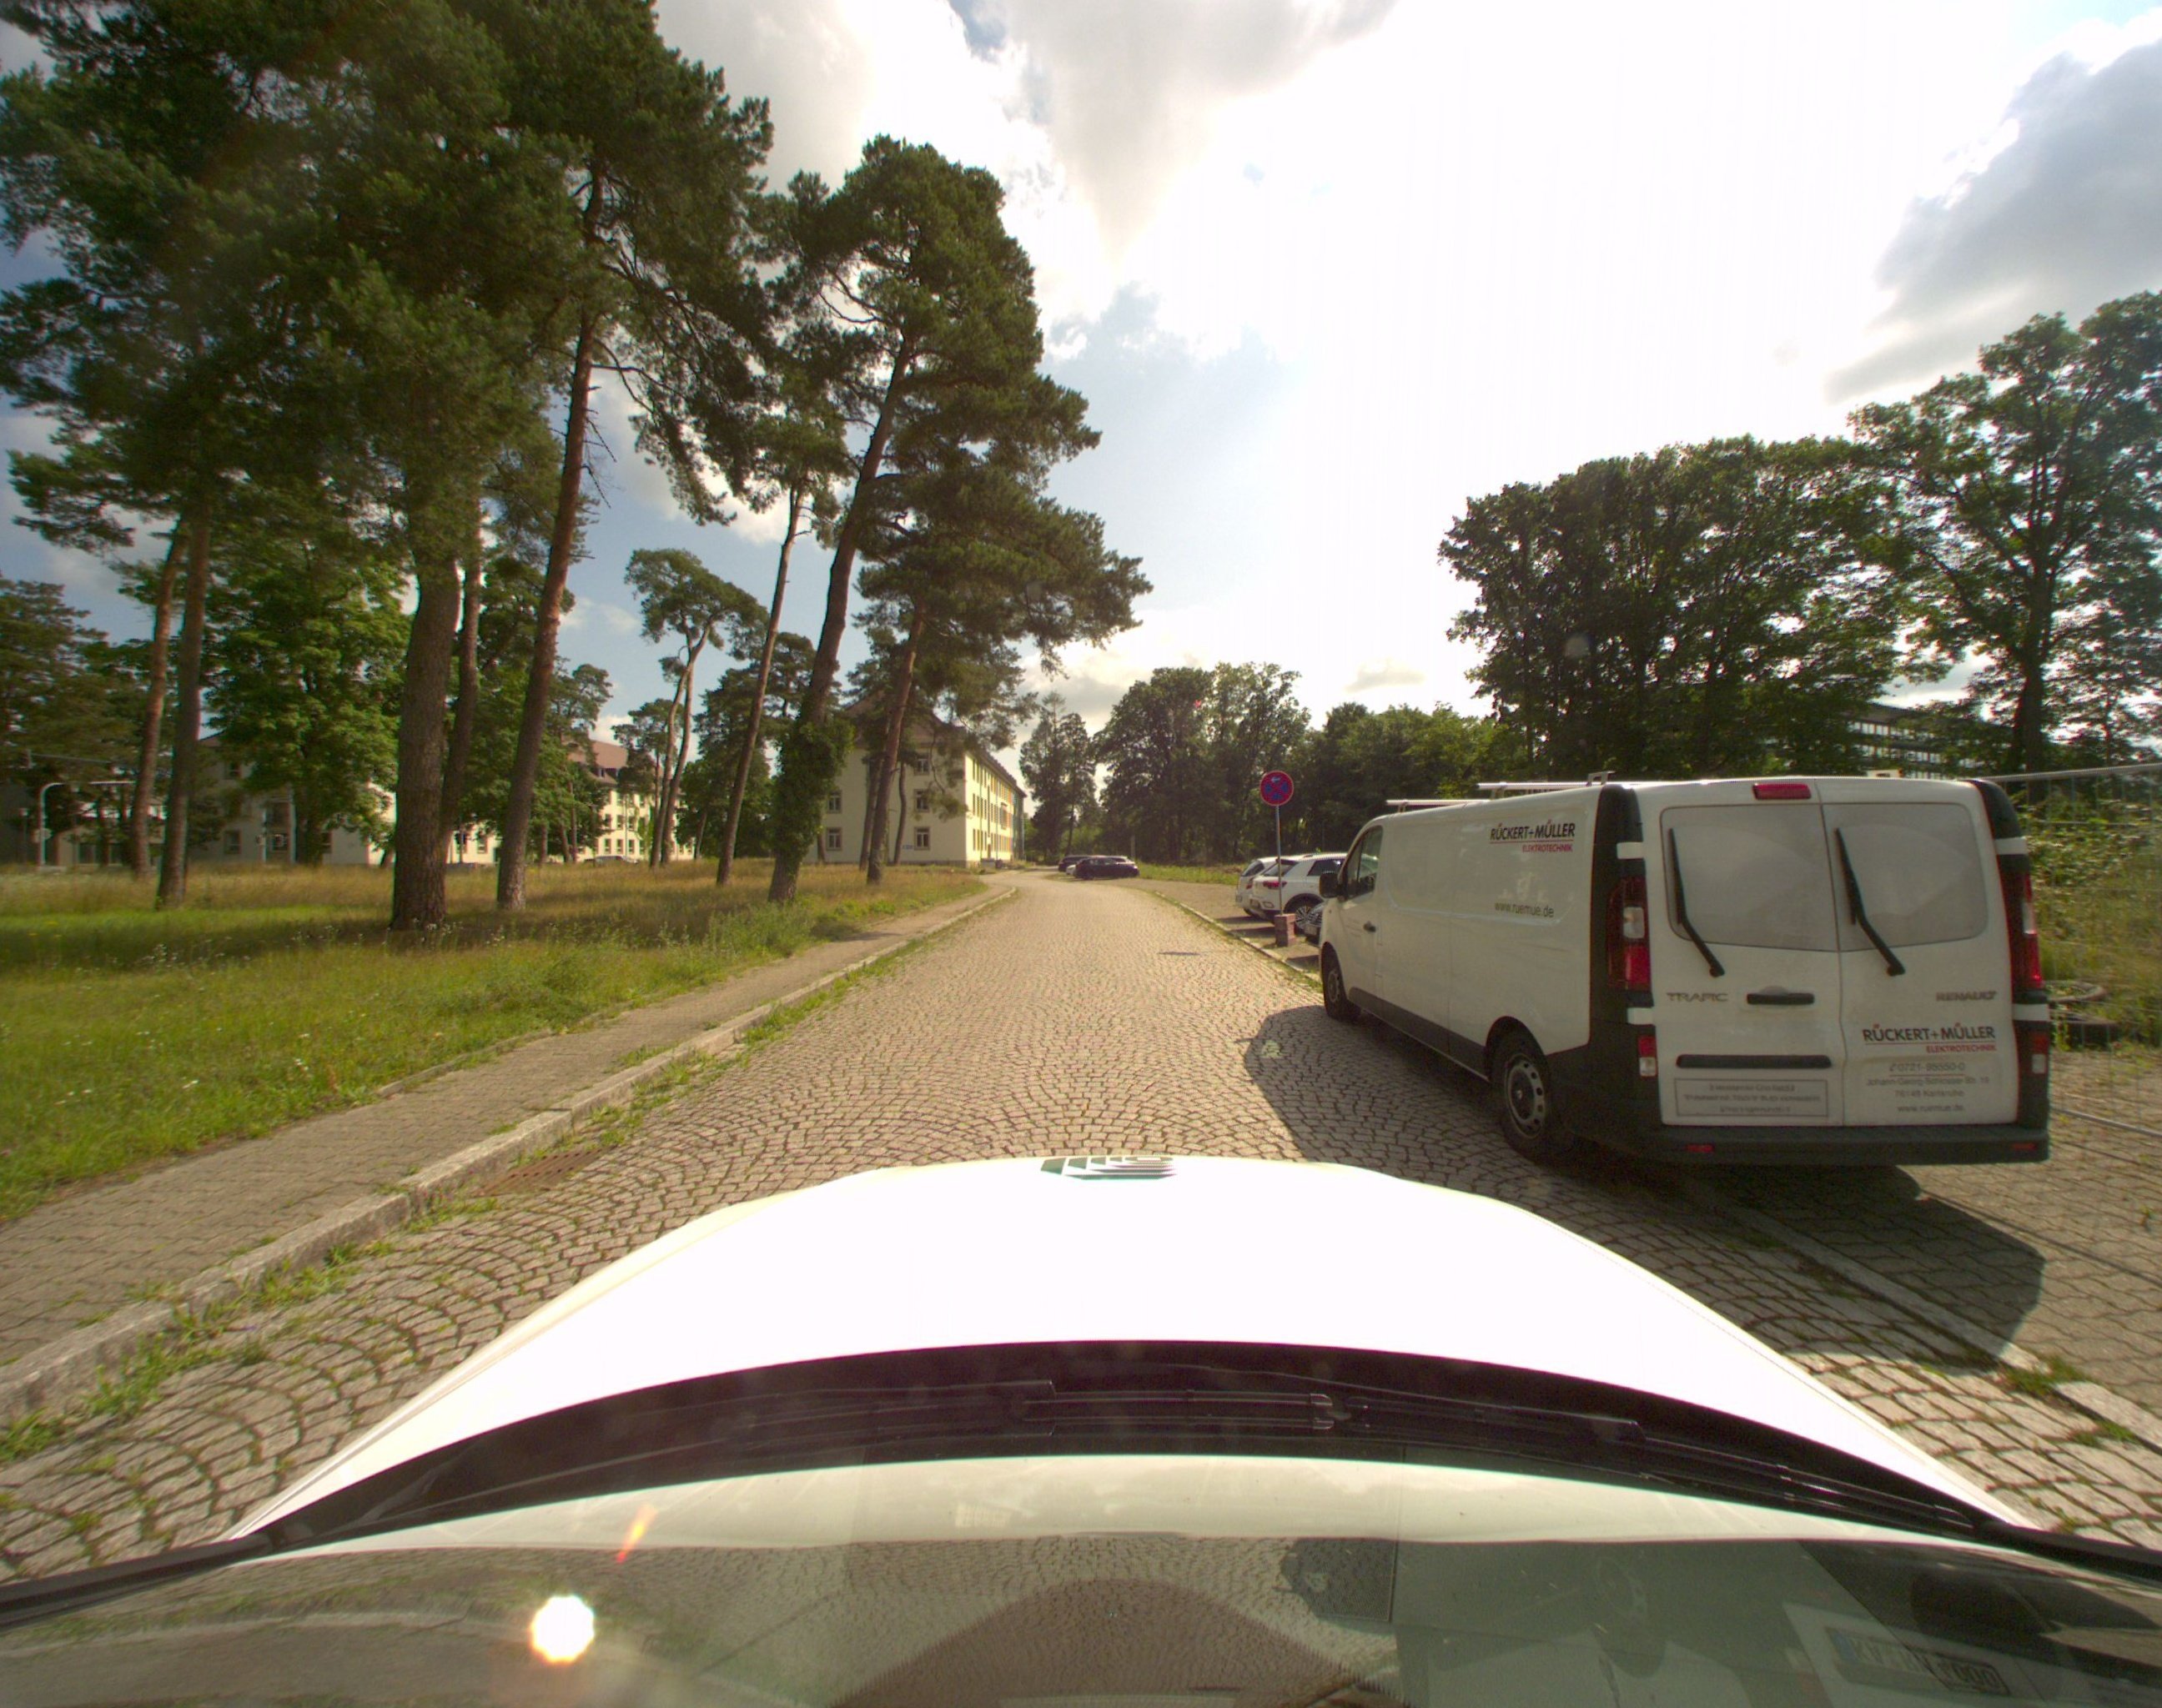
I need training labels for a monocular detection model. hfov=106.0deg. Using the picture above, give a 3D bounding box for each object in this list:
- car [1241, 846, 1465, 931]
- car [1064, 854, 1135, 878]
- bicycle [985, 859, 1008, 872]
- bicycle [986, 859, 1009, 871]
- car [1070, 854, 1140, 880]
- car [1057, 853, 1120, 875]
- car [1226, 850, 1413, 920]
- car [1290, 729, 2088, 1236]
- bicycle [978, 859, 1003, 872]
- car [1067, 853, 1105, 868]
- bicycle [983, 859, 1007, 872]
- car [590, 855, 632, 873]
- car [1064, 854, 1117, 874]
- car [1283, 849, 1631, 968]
[{"bbox_3d":[5.484,0.666,16.709,3.977,1.507,1.745,-2,0,-3],"label":"car"},{"bbox_3d":[1.256,0.806,56.556,4.849,1.472,1.873,-2,1,-2],"label":"car"},{"bbox_3d":[-8.412,1.095,80.925,2.213,1.260,0.623,-1,-1,2],"label":"bicycle"},{"bbox_3d":[-8.426,1.100,81.934,2.213,1.260,0.623,-1,-1,2],"label":"bicycle"},{"bbox_3d":[1.579,0.824,53.459,4.322,1.500,1.825,-2,1,-8],"label":"car"},{"bbox_3d":[0.546,0.752,63.904,4.839,1.552,1.878,-2,-1,-2],"label":"car"},{"bbox_3d":[5.724,0.722,19.843,4.032,1.464,1.702,-2,0,-3],"label":"car"},{"bbox_3d":[3.214,0.540,6.182,1.907,2.053,5.680,-1,0,1],"label":"car"},{"bbox_3d":[-8.674,1.090,78.187,2.211,1.260,0.624,-1,-1,6],"label":"bicycle"},{"bbox_3d":[0.563,0.793,92.031,4.171,1.543,1.821,-2,-1,1],"label":"car"},{"bbox_3d":[-8.457,1.095,79.929,2.211,1.260,0.624,-1,-1,6],"label":"bicycle"},{"bbox_3d":[-55.830,1.164,96.791,4.045,1.991,1.713,-1,0,0],"label":"car"},{"bbox_3d":[0.777,0.845,69.218,4.386,1.484,1.764,-2,-1,-2],"label":"car"},{"bbox_3d":[5.507,0.755,12.254,4.445,1.475,1.743,-2,0,-5],"label":"car"}]
